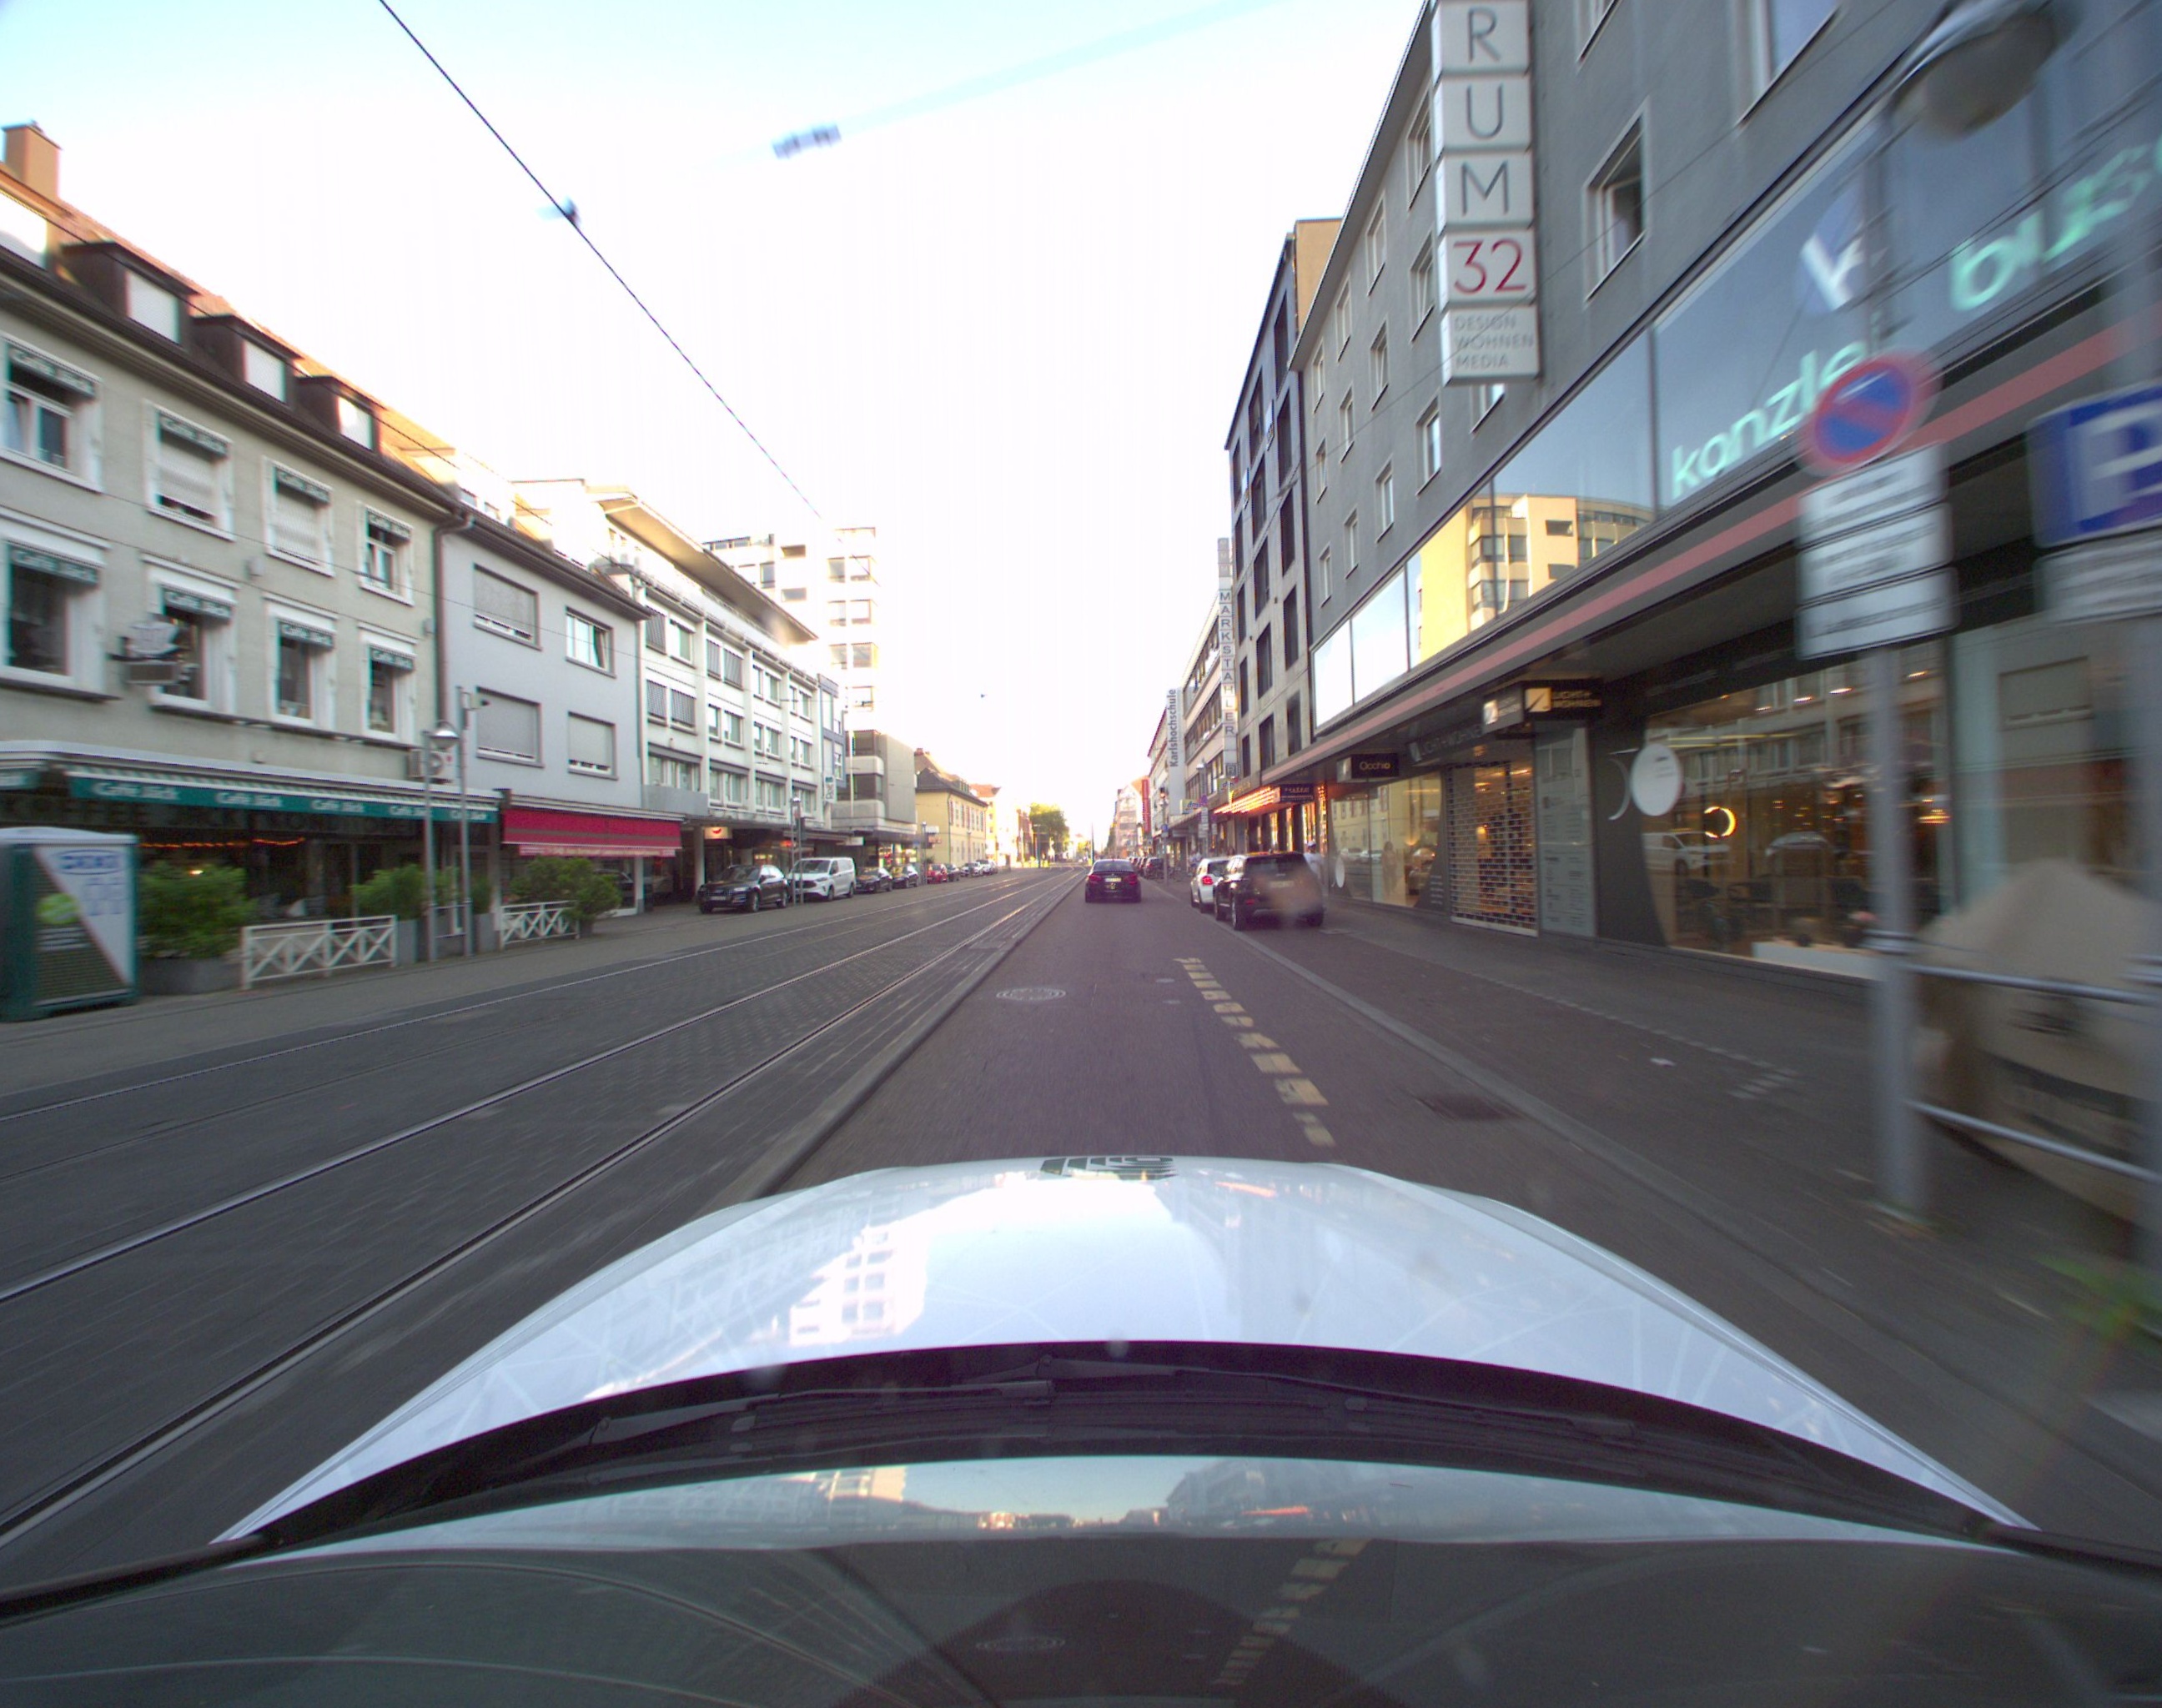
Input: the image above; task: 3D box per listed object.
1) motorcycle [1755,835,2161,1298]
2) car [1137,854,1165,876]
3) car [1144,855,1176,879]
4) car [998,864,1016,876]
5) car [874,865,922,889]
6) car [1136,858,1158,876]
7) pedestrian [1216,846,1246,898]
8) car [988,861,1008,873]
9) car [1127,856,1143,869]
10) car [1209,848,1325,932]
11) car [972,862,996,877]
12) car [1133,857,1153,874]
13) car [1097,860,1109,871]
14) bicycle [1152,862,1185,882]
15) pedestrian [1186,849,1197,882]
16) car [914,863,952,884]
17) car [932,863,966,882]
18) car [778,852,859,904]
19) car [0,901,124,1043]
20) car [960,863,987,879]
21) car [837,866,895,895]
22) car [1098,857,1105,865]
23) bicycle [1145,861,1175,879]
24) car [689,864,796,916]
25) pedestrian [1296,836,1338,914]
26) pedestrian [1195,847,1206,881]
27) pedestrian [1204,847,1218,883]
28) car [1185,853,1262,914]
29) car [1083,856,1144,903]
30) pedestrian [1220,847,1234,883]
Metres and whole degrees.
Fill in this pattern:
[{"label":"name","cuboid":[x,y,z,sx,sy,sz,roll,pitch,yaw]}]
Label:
[{"label":"motorcycle","cuboid":[3.785,0.663,2.951,0.841,1.419,2.165,-4,-1,2]},{"label":"car","cuboid":[5.355,0.856,62.459,1.896,1.549,3.781,-1,-1,2]},{"label":"car","cuboid":[5.326,0.903,55.597,1.896,1.549,4.001,-1,-1,2]},{"label":"car","cuboid":[-9.937,2.130,109.674,1.921,1.435,4.247,-1,0,2]},{"label":"car","cuboid":[-11.511,1.415,51.476,1.921,1.435,4.247,-1,0,2]},{"label":"car","cuboid":[5.784,1.162,71.808,1.768,1.549,3.504,-1,-1,2]},{"label":"pedestrian","cuboid":[4.820,0.578,26.243,0.560,1.647,0.753,-2,-1,-26]},{"label":"car","cuboid":[-10.185,1.614,100.301,1.921,1.435,4.247,-1,0,2]},{"label":"car","cuboid":[6.572,1.058,98.560,1.768,1.549,3.504,-1,-1,2]},{"label":"car","cuboid":[3.886,0.697,17.616,1.648,1.537,3.887,-3,0,1]},{"label":"car","cuboid":[-10.198,1.626,86.019,1.921,1.435,4.247,-1,0,2]},{"label":"car","cuboid":[5.850,1.065,77.119,1.768,1.549,3.504,-1,-1,2]},{"label":"car","cuboid":[3.226,1.697,120.057,1.768,1.549,3.504,-1,-1,2]},{"label":"bicycle","cuboid":[5.003,1.012,46.518,1.854,1.080,0.469,-1,-2,2]},{"label":"pedestrian","cuboid":[5.854,0.612,43.238,0.473,1.699,0.753,-2,-1,5]},{"label":"car","cuboid":[-11.123,1.433,61.591,1.921,1.435,4.247,-1,0,2]},{"label":"car","cuboid":[-10.792,1.512,66.638,1.921,1.435,4.247,-1,0,2]},{"label":"car","cuboid":[-11.866,1.034,37.161,1.987,2.156,4.911,-2,0,1]},{"label":"car","cuboid":[-12.559,1.297,7.618,1.985,1.453,4.333,-1,0,3]},{"label":"car","cuboid":[-10.579,1.680,80.113,1.921,1.435,4.247,-2,0,2]},{"label":"car","cuboid":[-11.692,1.400,44.597,1.921,1.435,4.247,-1,0,2]},{"label":"car","cuboid":[5.548,1.958,219.146,1.986,1.838,4.000,-1,-3,2]},{"label":"bicycle","cuboid":[5.061,1.047,52.313,1.854,1.119,0.469,-1,-2,2]},{"label":"car","cuboid":[-12.124,1.220,29.515,1.853,1.678,4.466,-1,0,2]},{"label":"pedestrian","cuboid":[5.540,0.485,19.135,0.686,1.740,0.821,-4,-1,3]},{"label":"pedestrian","cuboid":[6.331,0.516,43.200,0.486,1.790,0.761,-2,-1,5]},{"label":"pedestrian","cuboid":[6.591,0.560,41.266,0.552,1.791,0.760,-2,-1,1]},{"label":"car","cuboid":[3.871,0.762,22.665,1.553,1.442,3.711,-4,0,2]},{"label":"car","cuboid":[1.180,0.832,28.577,1.945,1.498,4.468,-1,0,3]},{"label":"pedestrian","cuboid":[7.324,0.535,40.869,0.506,1.792,0.760,-2,-1,2]}]
